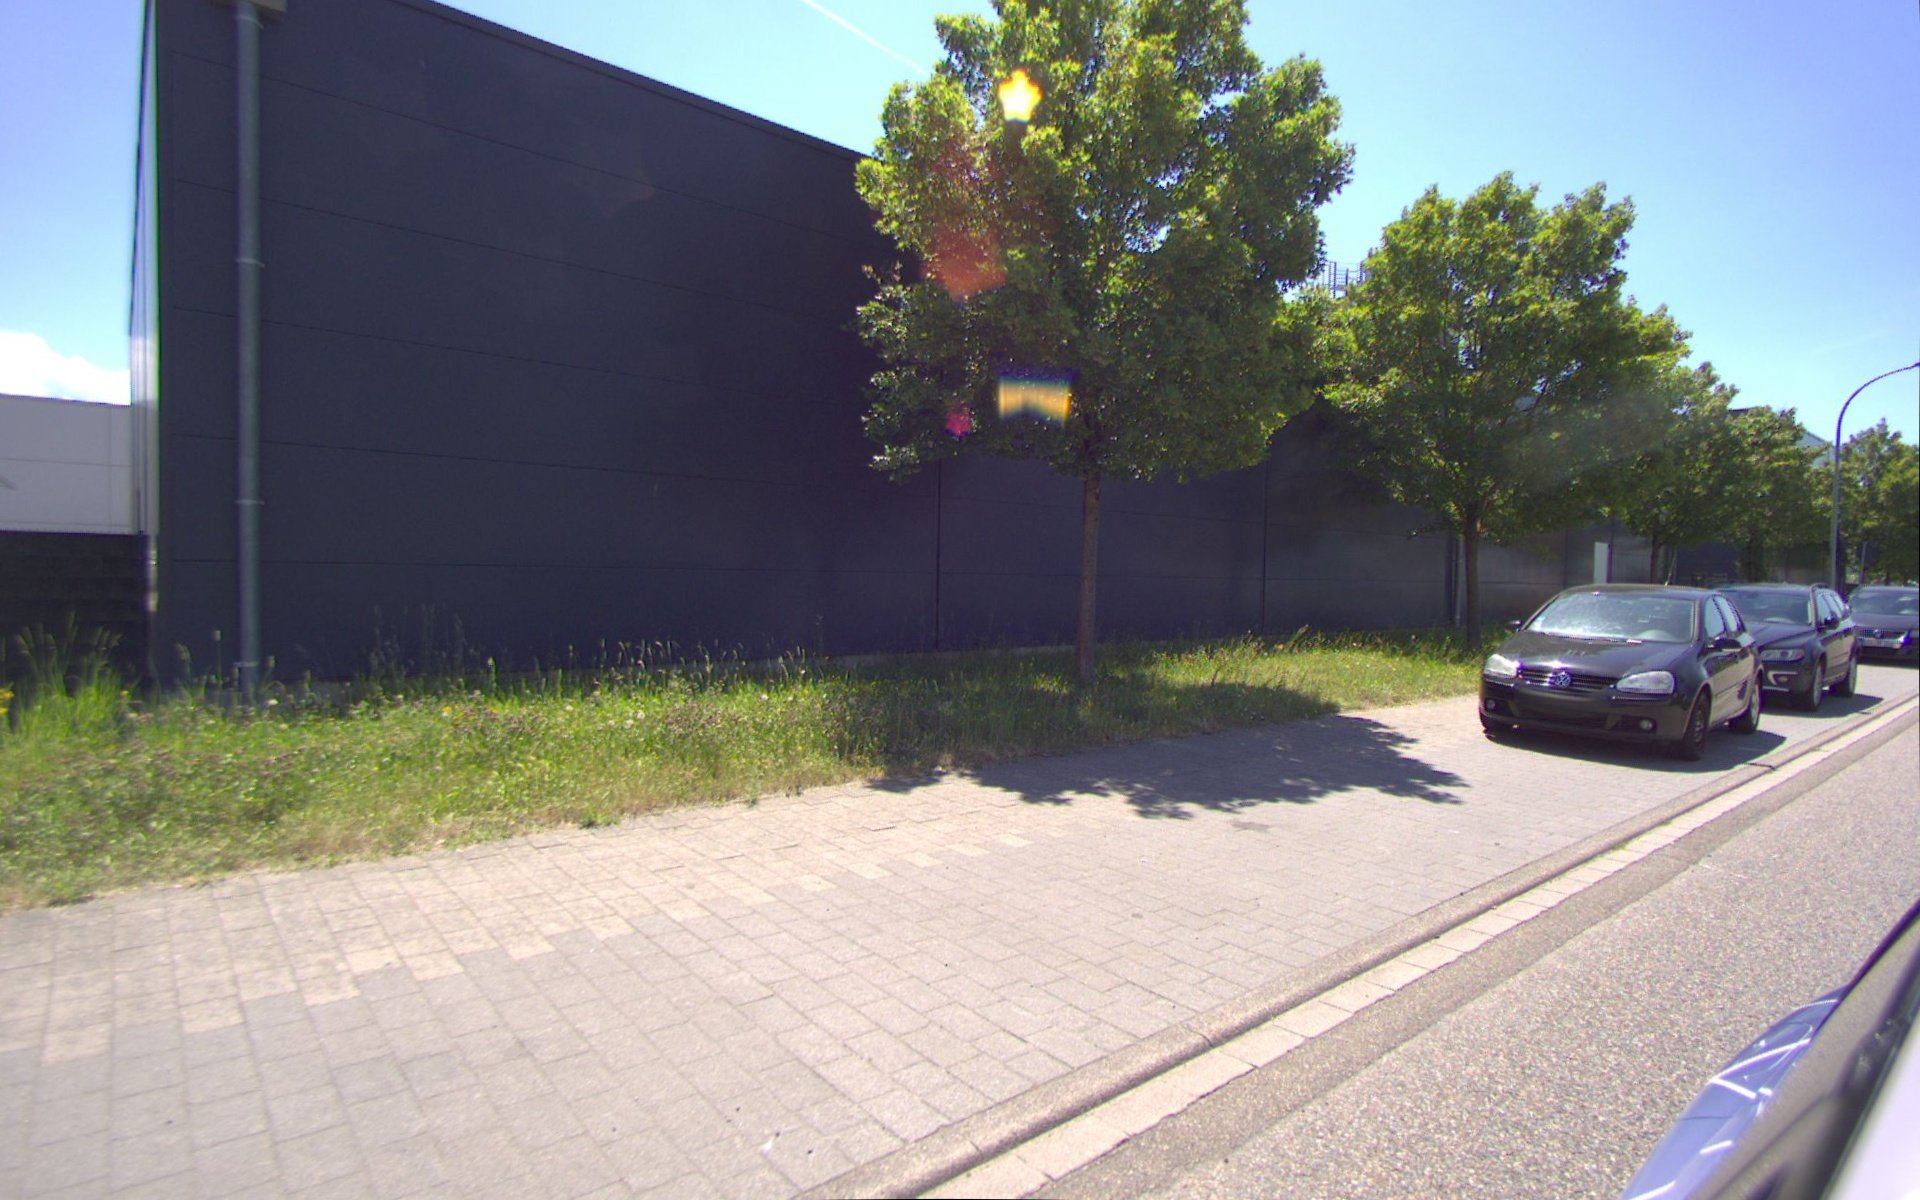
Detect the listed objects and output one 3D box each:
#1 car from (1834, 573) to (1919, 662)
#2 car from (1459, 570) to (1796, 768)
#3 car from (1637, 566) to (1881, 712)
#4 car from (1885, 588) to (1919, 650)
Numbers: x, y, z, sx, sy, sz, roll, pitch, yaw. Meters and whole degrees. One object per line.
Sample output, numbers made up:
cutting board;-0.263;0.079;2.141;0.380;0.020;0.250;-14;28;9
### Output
car;20.214;0.333;21.611;4.292;1.690;1.741;0;3;-42
car;6.707;0.516;9.982;4.195;1.494;1.695;0;3;-42
car;11.158;0.418;14.002;4.633;1.637;1.811;0;3;-42
car;24.836;0.482;25.564;4.117;1.475;1.710;0;3;-42
